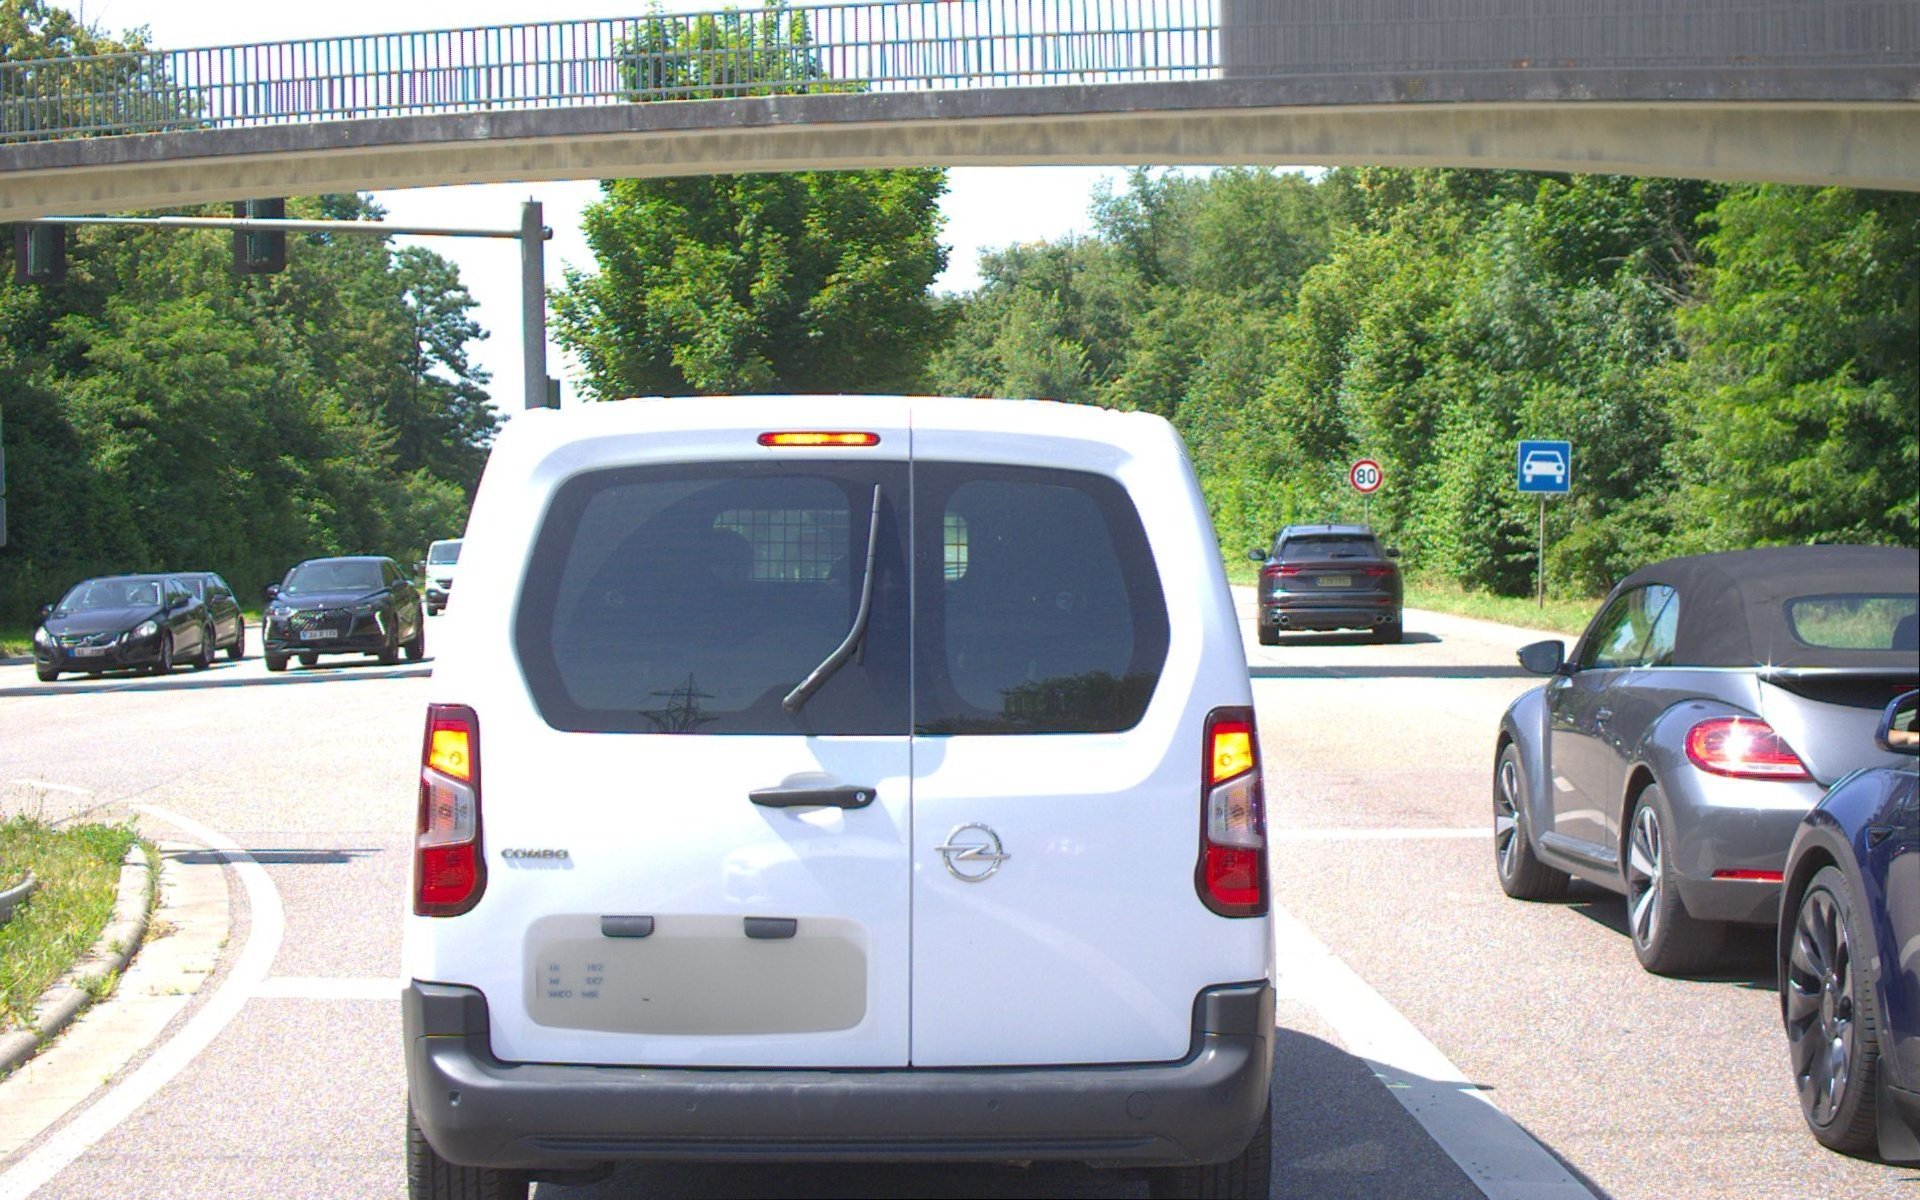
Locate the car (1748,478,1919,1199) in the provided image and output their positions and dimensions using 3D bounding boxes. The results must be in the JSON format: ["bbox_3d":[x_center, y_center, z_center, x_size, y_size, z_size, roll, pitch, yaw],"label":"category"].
[{"bbox_3d":[3.062,0.578,6.787,1.900,1.639,4.520,1,1,-1],"label":"car"}]

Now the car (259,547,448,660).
[{"bbox_3d":[-8.476,0.019,48.343,1.993,1.518,4.028,0,1,-1],"label":"car"}]

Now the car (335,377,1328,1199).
[{"bbox_3d":[-0.295,0.441,8.448,1.849,1.819,3.982,1,2,-2],"label":"car"}]

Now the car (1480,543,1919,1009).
[{"bbox_3d":[3.245,0.538,12.990,1.900,1.472,3.939,1,1,-1],"label":"car"}]

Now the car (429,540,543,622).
[{"bbox_3d":[-12.254,-0.523,89.241,2.208,1.986,5.489,-2,1,-1],"label":"car"}]

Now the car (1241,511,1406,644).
[{"bbox_3d":[5.111,-0.346,48.892,2.042,1.693,5.086,-3,1,4],"label":"car"}]

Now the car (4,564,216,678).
[{"bbox_3d":[-12.028,0.265,48.906,2.008,1.455,4.055,-2,1,-1],"label":"car"}]

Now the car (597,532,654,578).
[{"bbox_3d":[-15.598,-2.107,160.453,2.208,1.986,4.734,-2,1,-1],"label":"car"}]
